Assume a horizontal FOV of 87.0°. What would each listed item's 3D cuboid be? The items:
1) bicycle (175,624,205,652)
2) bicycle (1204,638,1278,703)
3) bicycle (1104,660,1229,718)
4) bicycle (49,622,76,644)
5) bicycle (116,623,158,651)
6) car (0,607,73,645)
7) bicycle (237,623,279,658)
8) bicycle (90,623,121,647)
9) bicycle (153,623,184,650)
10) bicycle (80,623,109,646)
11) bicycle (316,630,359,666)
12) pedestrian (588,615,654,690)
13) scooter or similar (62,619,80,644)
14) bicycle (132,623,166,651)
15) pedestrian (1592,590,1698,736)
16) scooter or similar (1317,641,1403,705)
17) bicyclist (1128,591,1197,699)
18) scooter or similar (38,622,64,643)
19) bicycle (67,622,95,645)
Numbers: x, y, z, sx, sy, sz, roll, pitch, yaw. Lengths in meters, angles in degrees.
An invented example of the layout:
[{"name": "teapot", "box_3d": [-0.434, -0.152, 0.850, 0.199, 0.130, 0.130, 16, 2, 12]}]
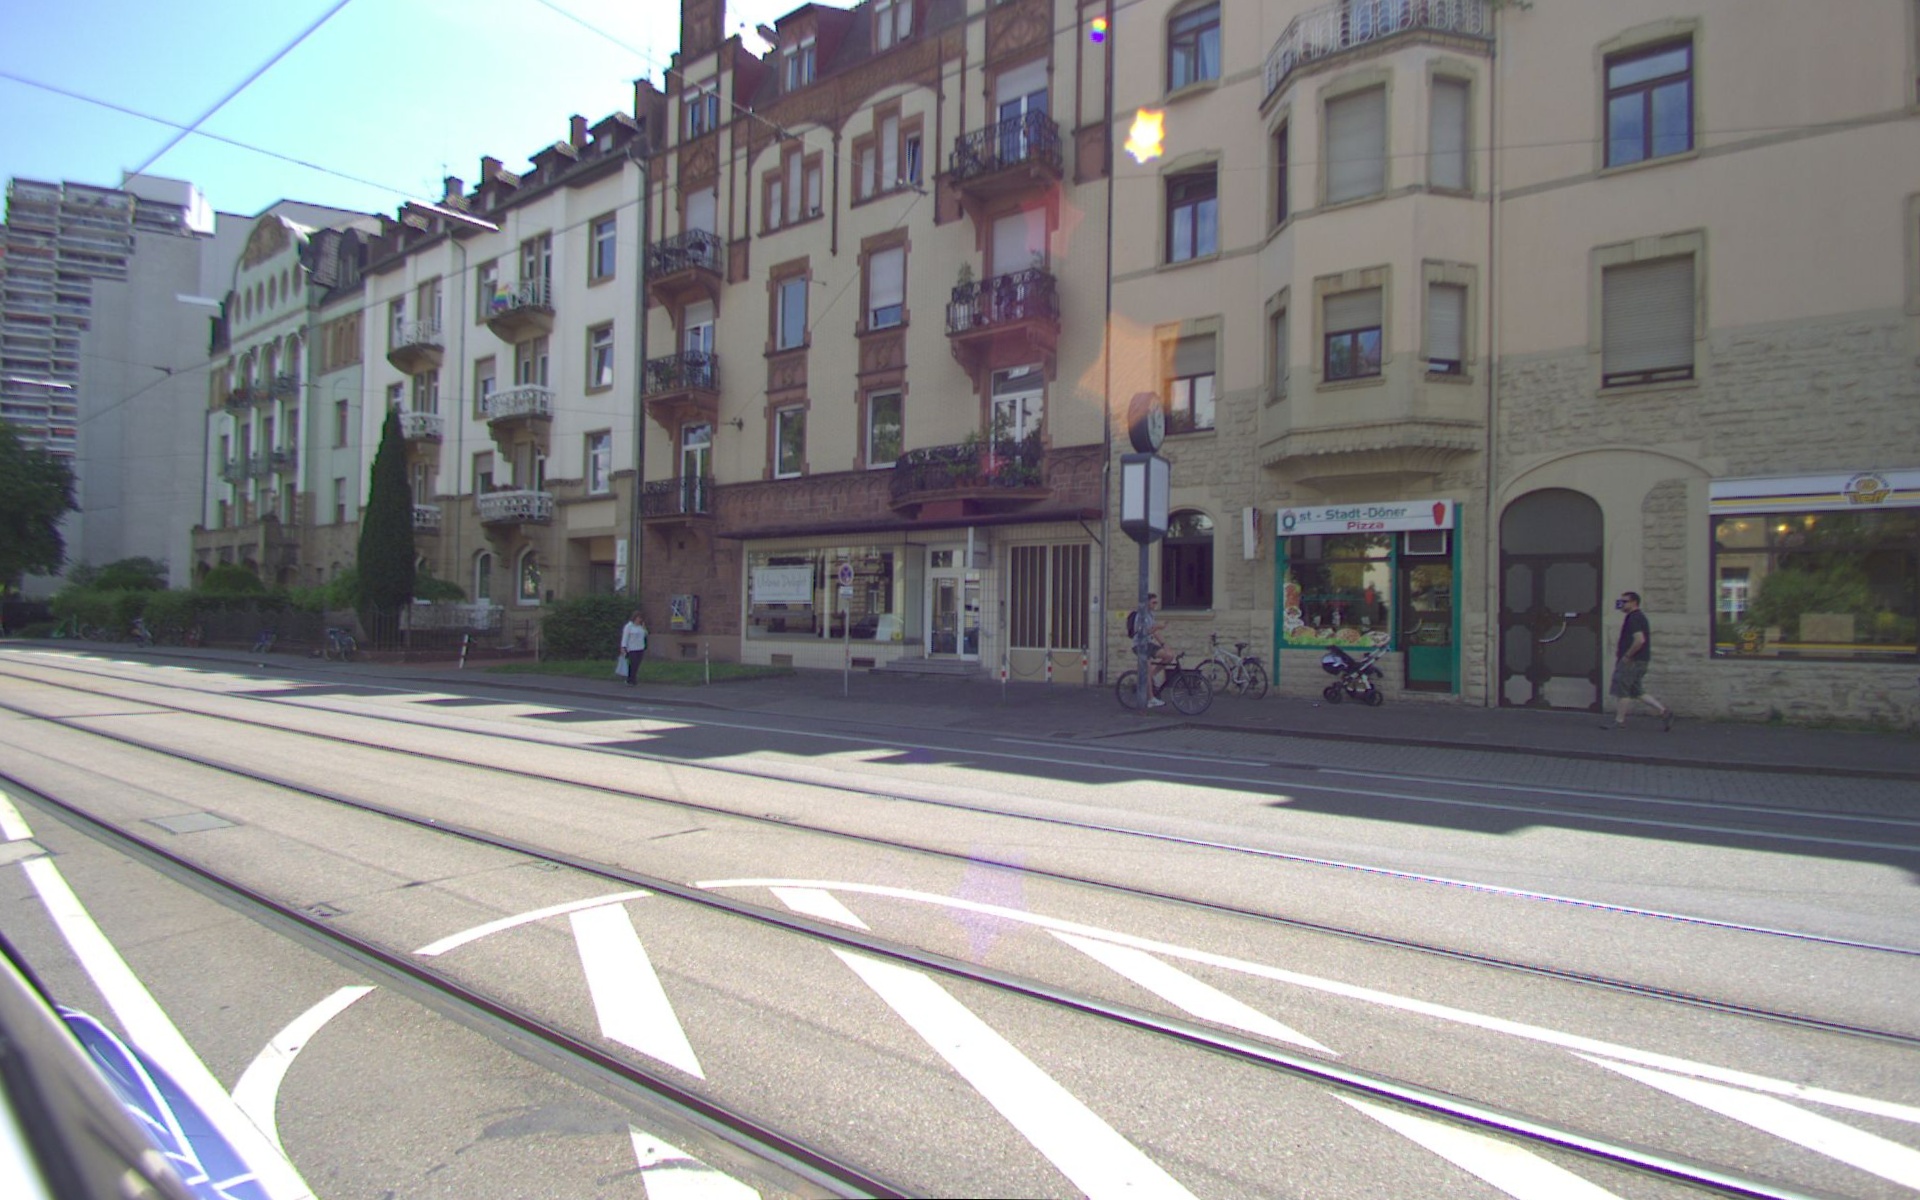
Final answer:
[{"name": "bicycle", "box_3d": [-28.486, 1.386, 37.443, 1.723, 0.973, 0.409, -1, 1, 37]}, {"name": "bicycle", "box_3d": [5.126, 1.268, 18.555, 0.365, 1.074, 1.469, 1, 0, -29]}, {"name": "bicycle", "box_3d": [3.290, 1.400, 16.201, 1.816, 0.824, 0.745, 0, -2, 36]}, {"name": "bicycle", "box_3d": [-42.804, 1.556, 48.253, 1.705, 0.996, 0.602, -1, 1, 37]}, {"name": "bicycle", "box_3d": [-31.313, 1.400, 38.535, 0.599, 1.007, 1.780, 1, -2, -18]}, {"name": "car", "box_3d": [-50.326, 1.390, 54.013, 1.934, 1.940, 4.586, 1, -2, 0]}, {"name": "bicycle", "box_3d": [-23.172, 1.328, 33.393, 1.768, 1.073, 0.602, -1, 1, 37]}, {"name": "bicycle", "box_3d": [-36.970, 1.515, 43.785, 1.768, 0.983, 0.602, -1, 1, 37]}, {"name": "bicycle", "box_3d": [-30.053, 1.377, 38.419, 1.705, 1.007, 0.460, -1, 1, 37]}, {"name": "bicycle", "box_3d": [-38.452, 1.515, 44.946, 1.705, 0.996, 0.602, -1, 1, 37]}, {"name": "bicycle", "box_3d": [-18.307, 1.400, 29.745, 1.838, 0.968, 0.407, 1, 2, 37]}, {"name": "pedestrian", "box_3d": [-7.213, 1.100, 21.534, 0.982, 1.554, 0.893, -1, -2, 35]}, {"name": "scooter or similar", "box_3d": [-41.440, 1.471, 47.151, 1.289, 1.128, 0.402, -1, -2, 39]}, {"name": "bicycle", "box_3d": [-32.553, 1.474, 40.623, 1.768, 1.040, 0.602, -1, 1, 37]}, {"name": "pedestrian", "box_3d": [9.440, 0.828, 13.954, 1.162, 1.905, 0.892, -1, 0, 36]}, {"name": "scooter or similar", "box_3d": [6.891, 1.254, 17.469, 1.192, 1.052, 0.696, 0, 0, -3]}, {"name": "bicyclist", "box_3d": [3.253, 0.707, 16.272, 0.830, 1.676, 0.748, -1, -2, 39]}, {"name": "scooter or similar", "box_3d": [-44.161, 1.576, 49.184, 1.215, 1.028, 0.404, 0, -2, 22]}, {"name": "bicycle", "box_3d": [-40.102, 1.532, 46.174, 1.705, 0.996, 0.602, -1, 1, 37]}]
